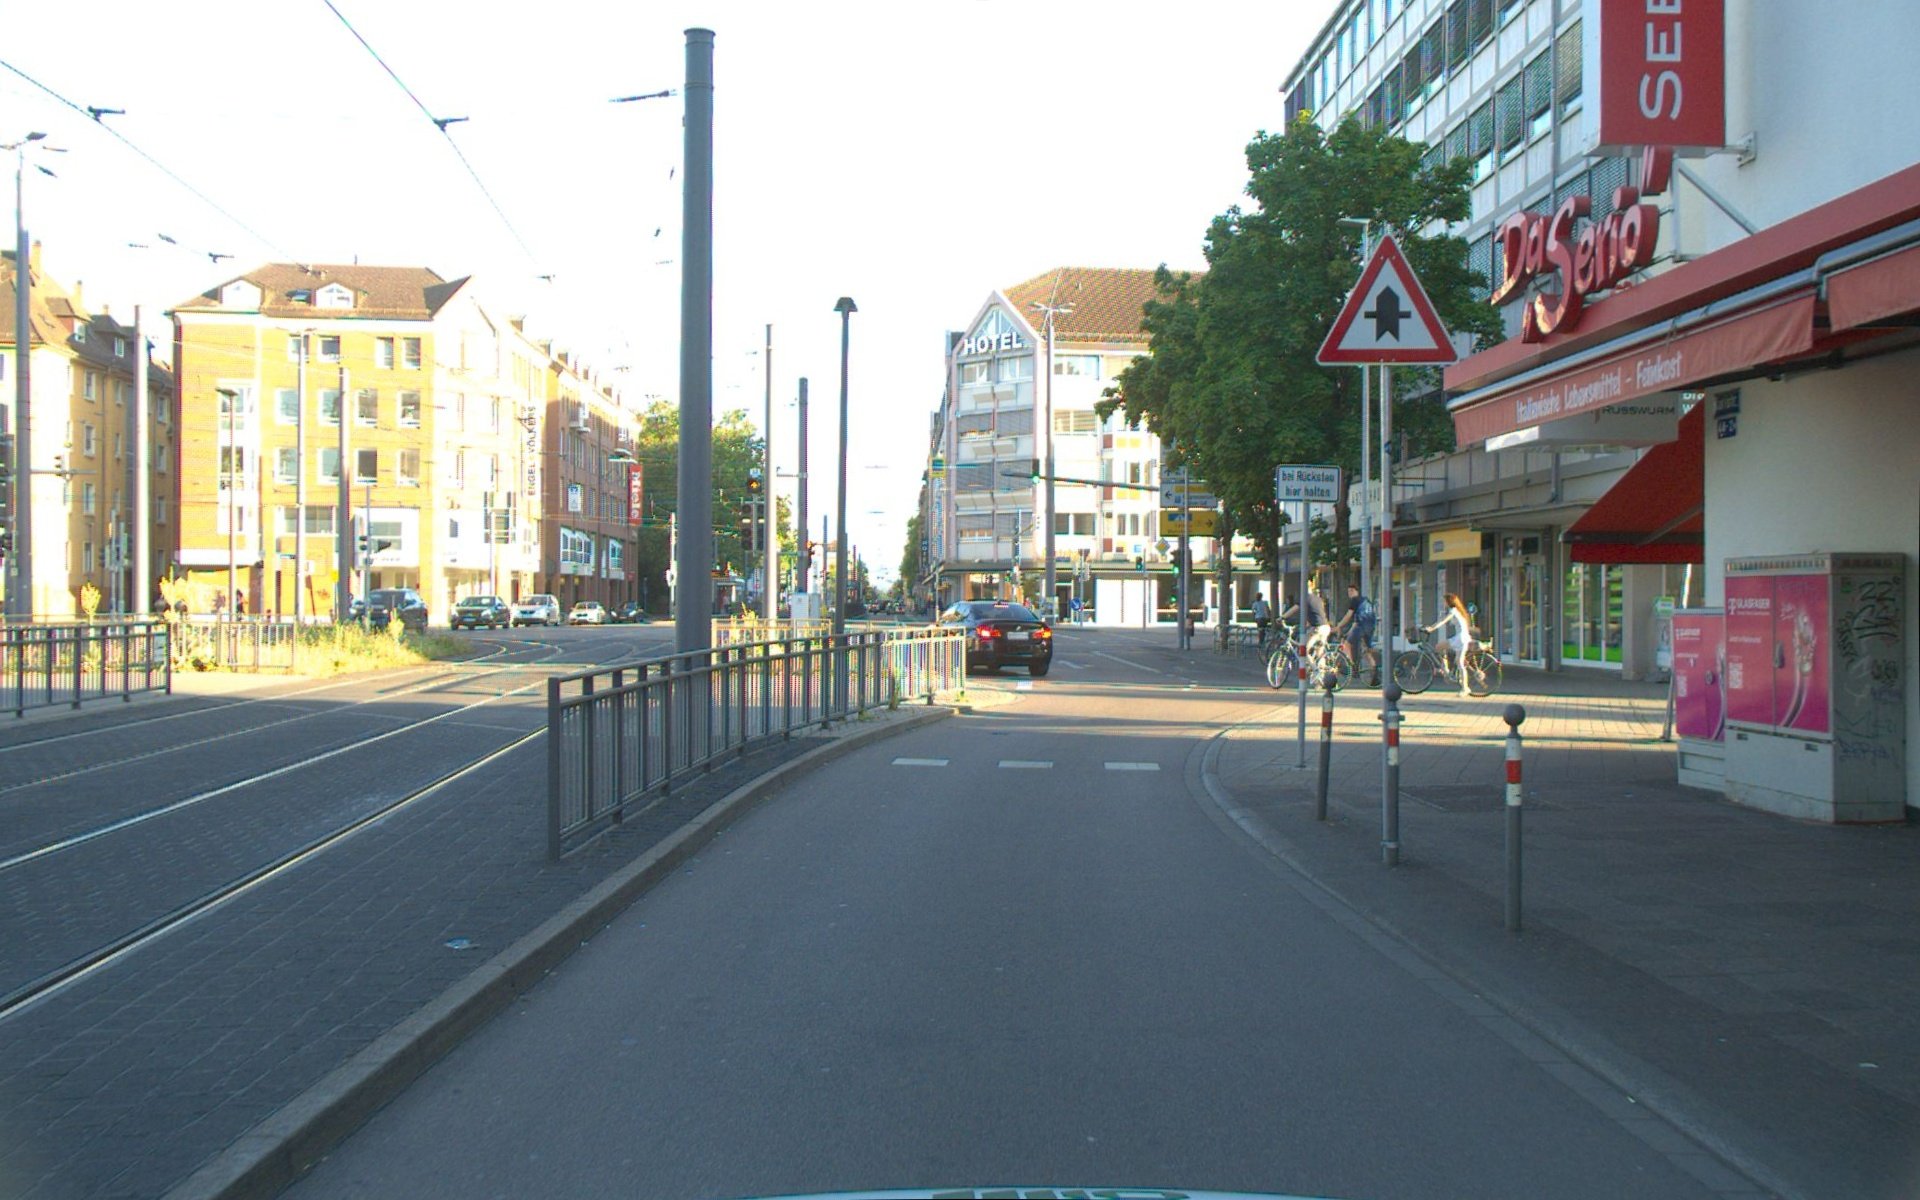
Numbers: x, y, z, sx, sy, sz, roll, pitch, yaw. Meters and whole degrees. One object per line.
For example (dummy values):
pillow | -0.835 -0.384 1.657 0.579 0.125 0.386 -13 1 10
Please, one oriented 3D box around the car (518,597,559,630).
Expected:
car | -21.313 0.649 83.794 1.960 1.613 4.098 0 0 -14

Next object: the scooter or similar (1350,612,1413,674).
scooter or similar | 8.795 0.892 34.504 1.254 1.256 0.337 0 0 40

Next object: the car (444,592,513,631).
car | -20.511 0.458 70.635 1.954 1.613 4.582 0 0 -5

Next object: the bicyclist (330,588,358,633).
bicyclist | -23.713 0.407 63.722 0.648 1.718 0.980 0 0 5

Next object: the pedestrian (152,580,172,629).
pedestrian | -31.026 0.167 64.291 0.493 1.900 0.562 2 0 -8

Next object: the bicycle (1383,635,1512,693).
bicycle | 7.990 1.036 27.078 1.965 0.896 0.840 0 -1 21

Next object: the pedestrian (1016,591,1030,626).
pedestrian | 3.395 0.461 88.831 0.671 1.887 0.670 0 0 -6

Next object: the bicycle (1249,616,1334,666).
bicycle | 7.796 0.960 38.949 1.954 1.130 0.669 0 0 10

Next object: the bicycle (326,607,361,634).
bicycle | -23.716 0.775 63.680 0.652 1.026 1.624 0 0 4

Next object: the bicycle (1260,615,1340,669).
bicycle | 8.189 1.006 39.875 1.863 1.257 0.669 0 0 9

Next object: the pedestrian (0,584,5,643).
pedestrian | -32.759 0.460 55.497 1.081 1.978 1.018 0 0 -22

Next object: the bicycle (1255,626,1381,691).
bicycle | 6.091 0.977 28.253 0.832 1.038 2.048 0 0 -39

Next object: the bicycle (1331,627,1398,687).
bicycle | 7.154 0.994 29.328 0.456 0.987 1.796 0 0 -10

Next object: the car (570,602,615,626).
car | -22.776 0.863 102.659 1.634 1.473 4.203 0 0 3

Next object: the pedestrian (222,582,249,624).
pedestrian | -33.400 0.132 76.292 0.923 1.900 0.836 2 0 -12

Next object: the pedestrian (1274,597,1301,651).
pedestrian | 10.280 0.751 51.899 0.708 1.696 0.671 0 0 1

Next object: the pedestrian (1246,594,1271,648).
pedestrian | 9.313 0.650 51.666 0.670 1.696 0.671 0 0 1

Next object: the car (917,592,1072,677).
car | 0.634 0.658 33.779 1.963 1.612 3.979 0 0 -19

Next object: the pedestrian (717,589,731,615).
pedestrian | -18.877 0.177 132.284 0.968 2.049 0.725 2 -1 -4

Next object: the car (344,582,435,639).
car | -20.370 0.353 59.296 1.954 1.934 4.807 0 0 -5

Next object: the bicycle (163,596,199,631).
bicycle | -30.495 0.518 64.743 0.606 1.348 2.013 2 0 -6

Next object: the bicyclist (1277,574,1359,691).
bicyclist | 6.109 0.543 28.224 0.832 1.951 1.099 0 0 -39

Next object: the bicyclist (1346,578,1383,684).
bicyclist | 7.167 0.543 29.294 0.456 1.862 0.558 0 0 -11

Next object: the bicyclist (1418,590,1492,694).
bicyclist | 8.095 0.668 27.039 1.088 1.651 0.840 0 0 21

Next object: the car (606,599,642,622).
car | -23.849 0.709 117.614 1.954 1.613 4.474 0 0 -5
